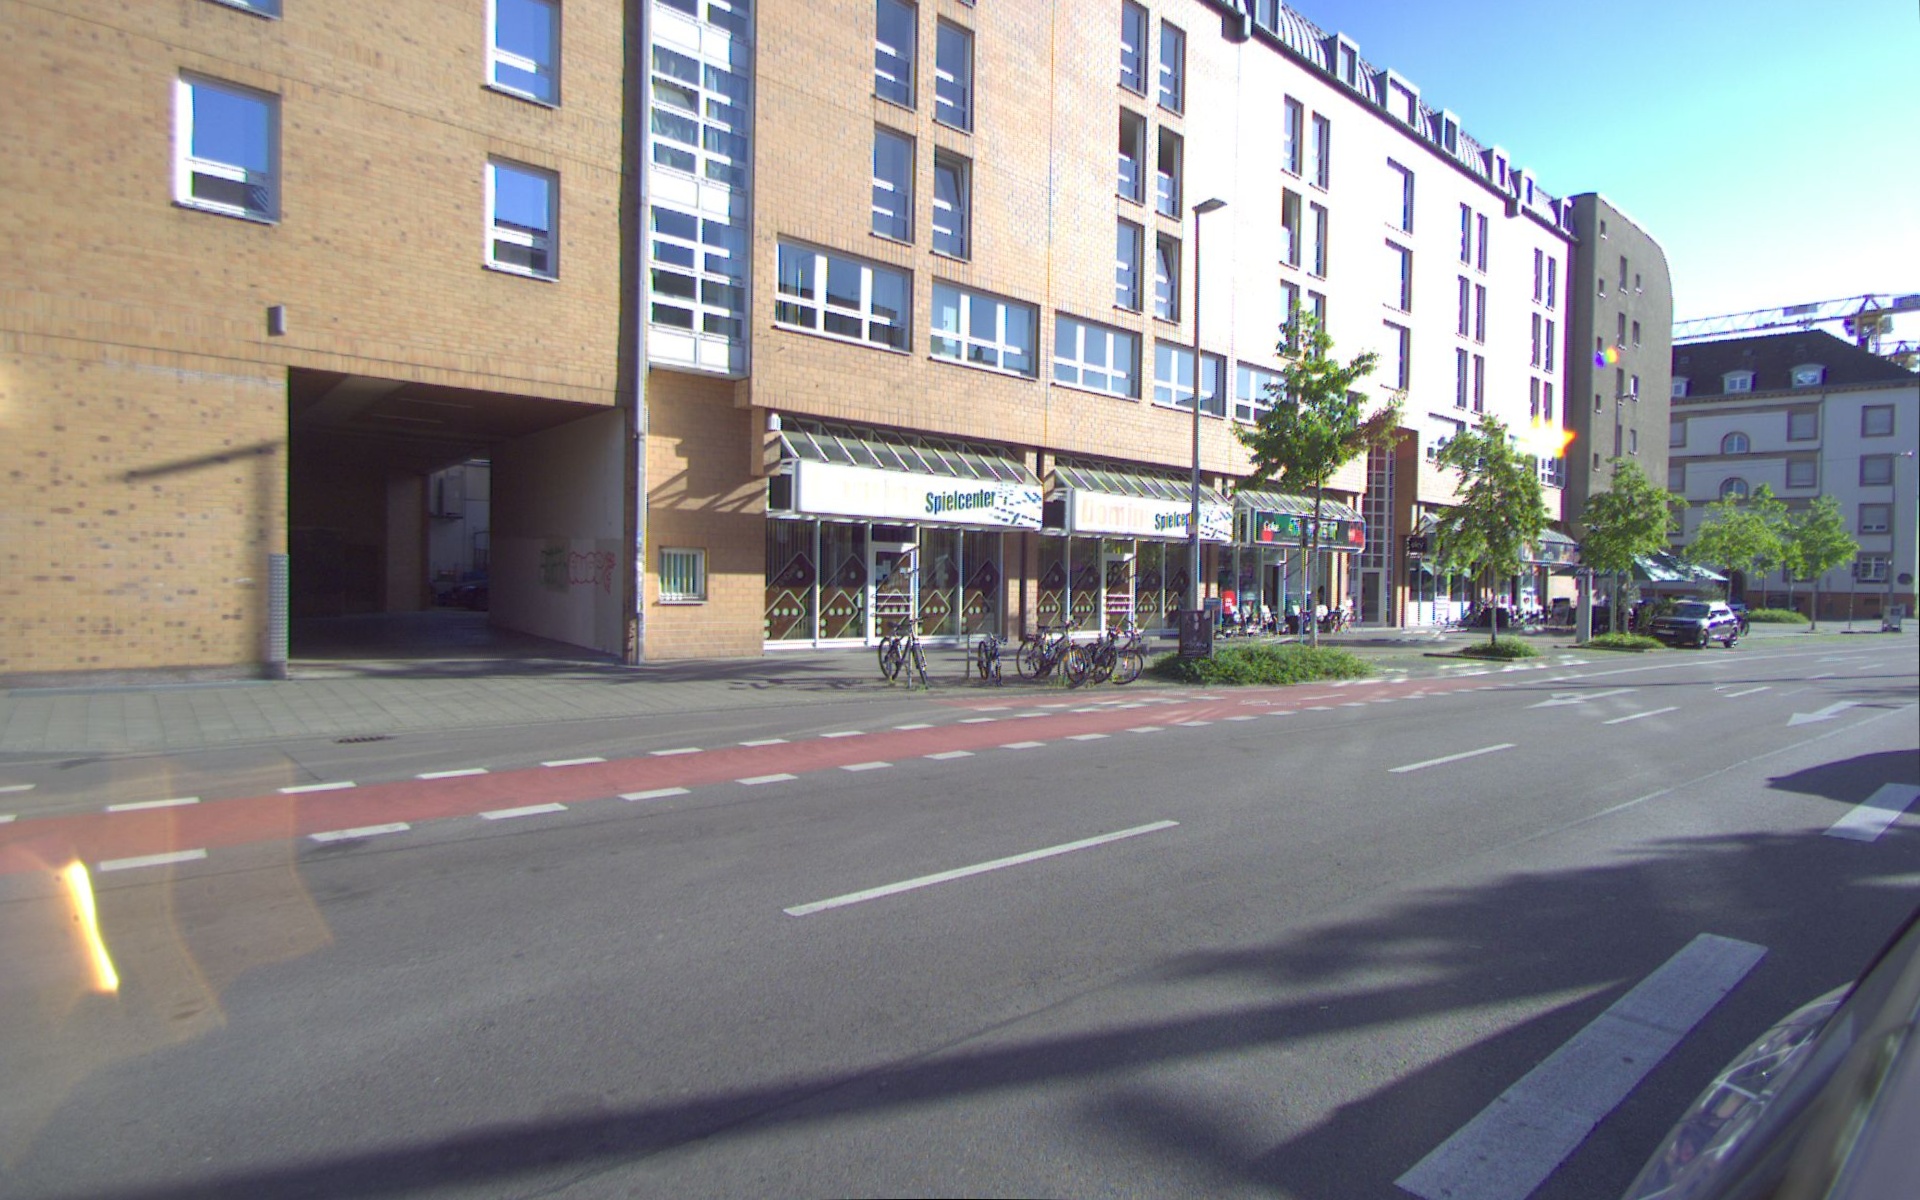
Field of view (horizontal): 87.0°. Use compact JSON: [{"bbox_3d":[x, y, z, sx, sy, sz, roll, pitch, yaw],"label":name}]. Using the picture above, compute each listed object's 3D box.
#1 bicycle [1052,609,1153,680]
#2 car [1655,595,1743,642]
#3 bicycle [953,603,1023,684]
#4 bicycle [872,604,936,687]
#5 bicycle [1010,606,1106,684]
[{"bbox_3d":[2.518,0.764,18.062,0.724,1.084,1.775,-1,3,-37],"label":"bicycle"},{"bbox_3d":[25.828,0.602,35.339,3.628,1.549,1.654,-1,0,-40],"label":"car"},{"bbox_3d":[0.443,0.678,16.766,0.541,1.162,1.780,0,3,-20],"label":"bicycle"},{"bbox_3d":[-0.925,0.690,16.296,0.541,1.162,1.780,0,3,-20],"label":"bicycle"},{"bbox_3d":[1.642,0.734,17.226,0.543,1.155,1.775,-1,3,-37],"label":"bicycle"}]
